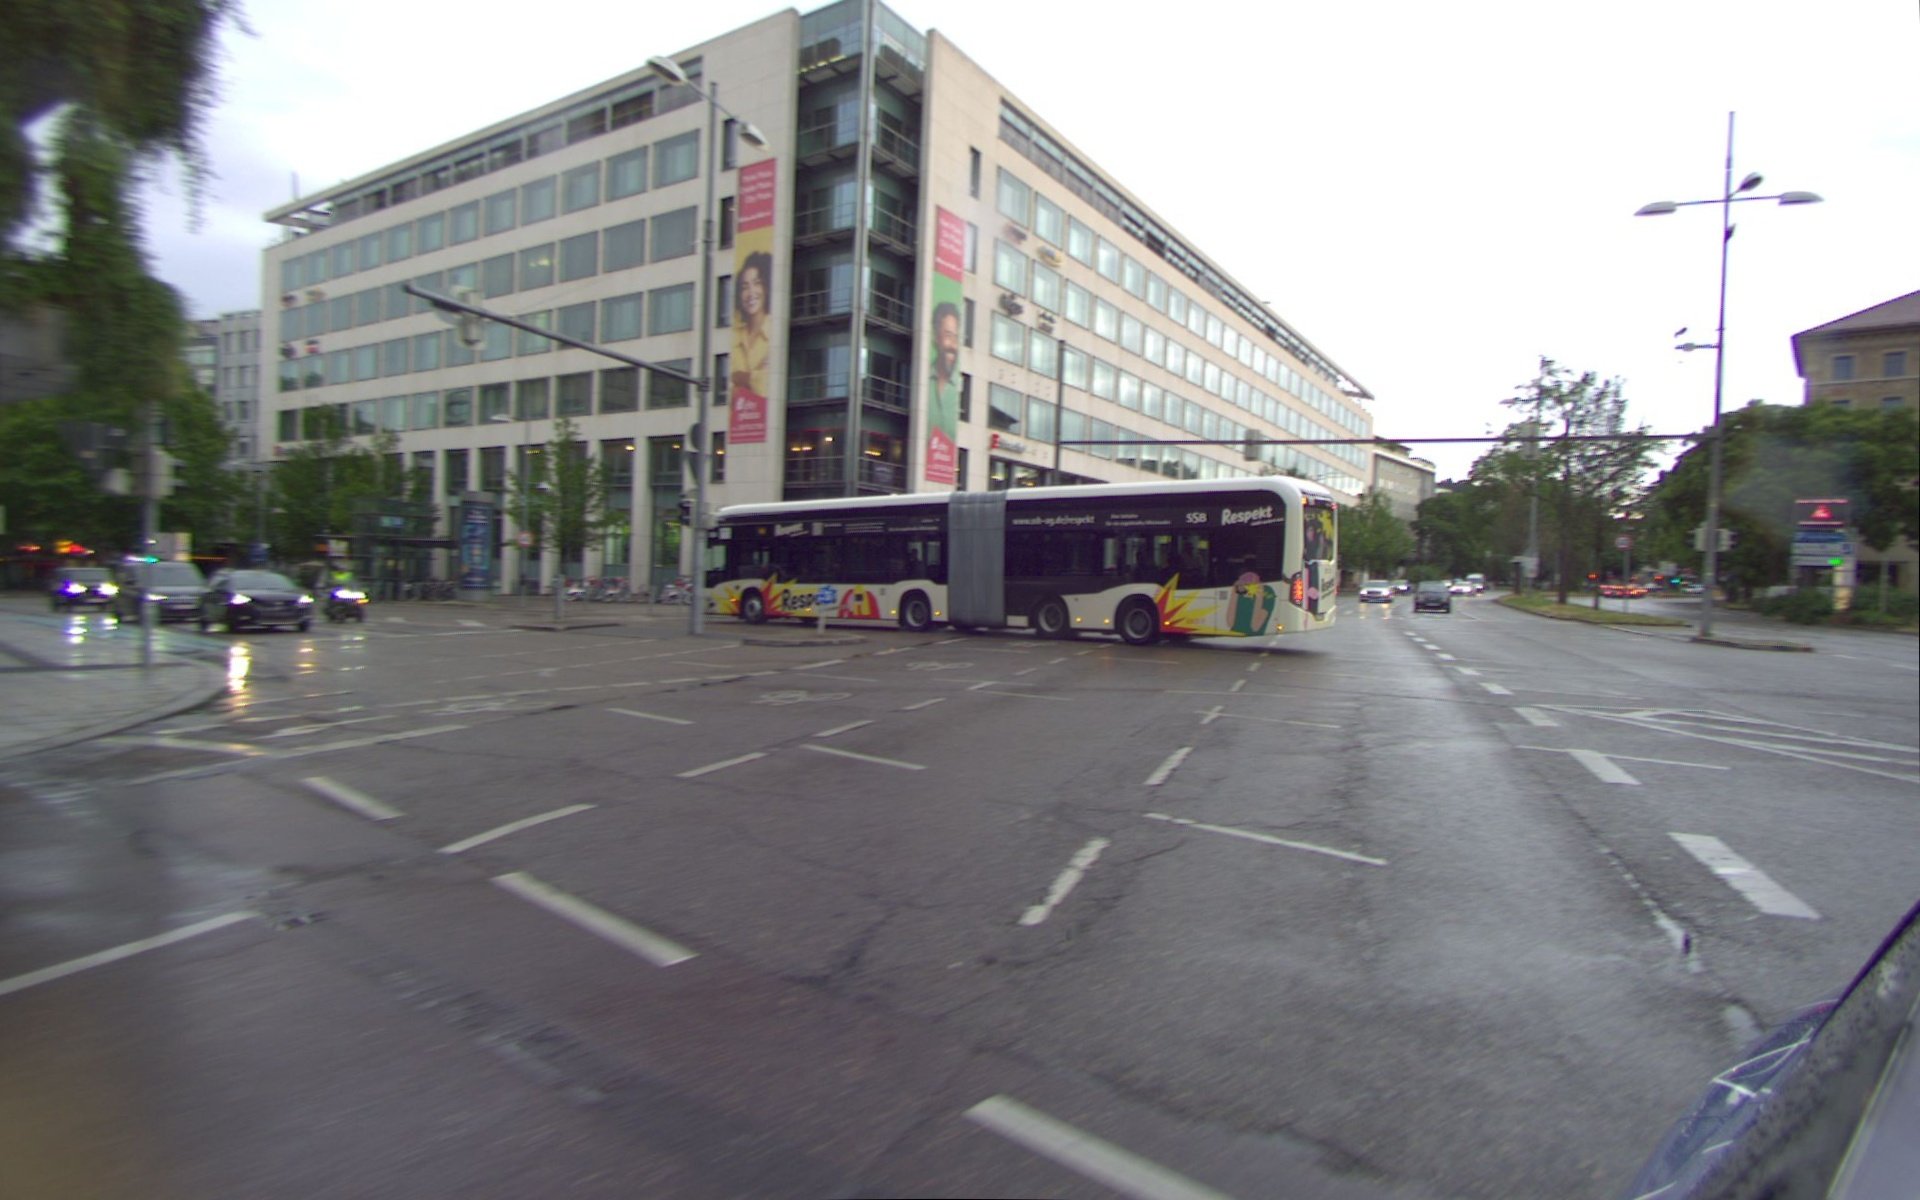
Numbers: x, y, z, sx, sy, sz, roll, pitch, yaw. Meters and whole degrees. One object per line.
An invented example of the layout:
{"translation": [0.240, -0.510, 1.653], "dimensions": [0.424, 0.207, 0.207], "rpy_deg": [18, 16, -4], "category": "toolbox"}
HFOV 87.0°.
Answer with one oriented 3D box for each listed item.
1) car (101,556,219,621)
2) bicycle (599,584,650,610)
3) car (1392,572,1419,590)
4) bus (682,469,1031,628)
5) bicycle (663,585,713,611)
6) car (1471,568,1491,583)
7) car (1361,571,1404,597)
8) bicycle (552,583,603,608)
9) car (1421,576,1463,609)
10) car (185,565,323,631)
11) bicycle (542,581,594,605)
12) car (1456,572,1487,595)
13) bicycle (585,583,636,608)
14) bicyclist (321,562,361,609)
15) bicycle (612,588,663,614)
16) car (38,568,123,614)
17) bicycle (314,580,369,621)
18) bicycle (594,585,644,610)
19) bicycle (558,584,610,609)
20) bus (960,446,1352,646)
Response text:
{"translation": [-23.607, -0.334, 29.811], "dimensions": [4.753, 1.780, 1.802], "rpy_deg": [0, 1, 40], "category": "car"}
{"translation": [-15.108, -0.141, 45.622], "dimensions": [0.487, 1.112, 2.317], "rpy_deg": [1, 1, 36], "category": "bicycle"}
{"translation": [41.980, -1.795, 95.322], "dimensions": [1.963, 1.571, 4.624], "rpy_deg": [1, 2, 29], "category": "car"}
{"translation": [-3.133, -1.257, 27.220], "dimensions": [10.259, 3.633, 2.652], "rpy_deg": [1, 1, 36], "category": "bus"}
{"translation": [-11.751, -0.109, 43.828], "dimensions": [0.487, 1.112, 2.317], "rpy_deg": [1, 1, 36], "category": "bicycle"}
{"translation": [71.342, -3.326, 138.482], "dimensions": [1.987, 2.039, 3.951], "rpy_deg": [1, 1, 34], "category": "car"}
{"translation": [27.067, -1.067, 64.798], "dimensions": [1.963, 1.571, 4.622], "rpy_deg": [2, 2, 30], "category": "car"}
{"translation": [-17.465, -0.210, 46.247], "dimensions": [0.487, 1.112, 2.317], "rpy_deg": [1, 1, 36], "category": "bicycle"}
{"translation": [22.587, -0.399, 47.528], "dimensions": [1.707, 1.450, 3.967], "rpy_deg": [1, 2, 25], "category": "car"}
{"translation": [-17.627, -0.062, 25.201], "dimensions": [4.183, 1.518, 1.802], "rpy_deg": [0, 1, 40], "category": "car"}
{"translation": [-18.167, -0.330, 46.956], "dimensions": [0.487, 1.112, 2.317], "rpy_deg": [1, 1, 36], "category": "bicycle"}
{"translation": [49.455, -1.578, 97.793], "dimensions": [1.968, 2.155, 5.041], "rpy_deg": [2, 2, 35], "category": "car"}
{"translation": [-16.025, -0.201, 46.447], "dimensions": [0.487, 1.112, 2.317], "rpy_deg": [1, 1, 36], "category": "bicycle"}
{"translation": [-18.018, -0.431, 29.467], "dimensions": [0.740, 1.353, 0.784], "rpy_deg": [0, 1, 41], "category": "bicyclist"}
{"translation": [-14.332, 0.017, 45.047], "dimensions": [0.487, 1.112, 2.317], "rpy_deg": [1, 1, 36], "category": "bicycle"}
{"translation": [-33.861, -0.349, 38.917], "dimensions": [4.476, 1.656, 1.802], "rpy_deg": [0, 1, 40], "category": "car"}
{"translation": [-18.018, 0.014, 29.469], "dimensions": [2.082, 1.150, 0.797], "rpy_deg": [0, 1, 42], "category": "bicycle"}
{"translation": [-15.518, -0.146, 46.131], "dimensions": [0.487, 1.112, 2.317], "rpy_deg": [1, 1, 36], "category": "bicycle"}
{"translation": [-17.059, -0.183, 45.934], "dimensions": [0.487, 1.112, 2.317], "rpy_deg": [1, 2, 36], "category": "bicycle"}
{"translation": [3.960, -1.048, 21.911], "dimensions": [8.043, 3.633, 2.651], "rpy_deg": [1, 1, 38], "category": "bus"}
